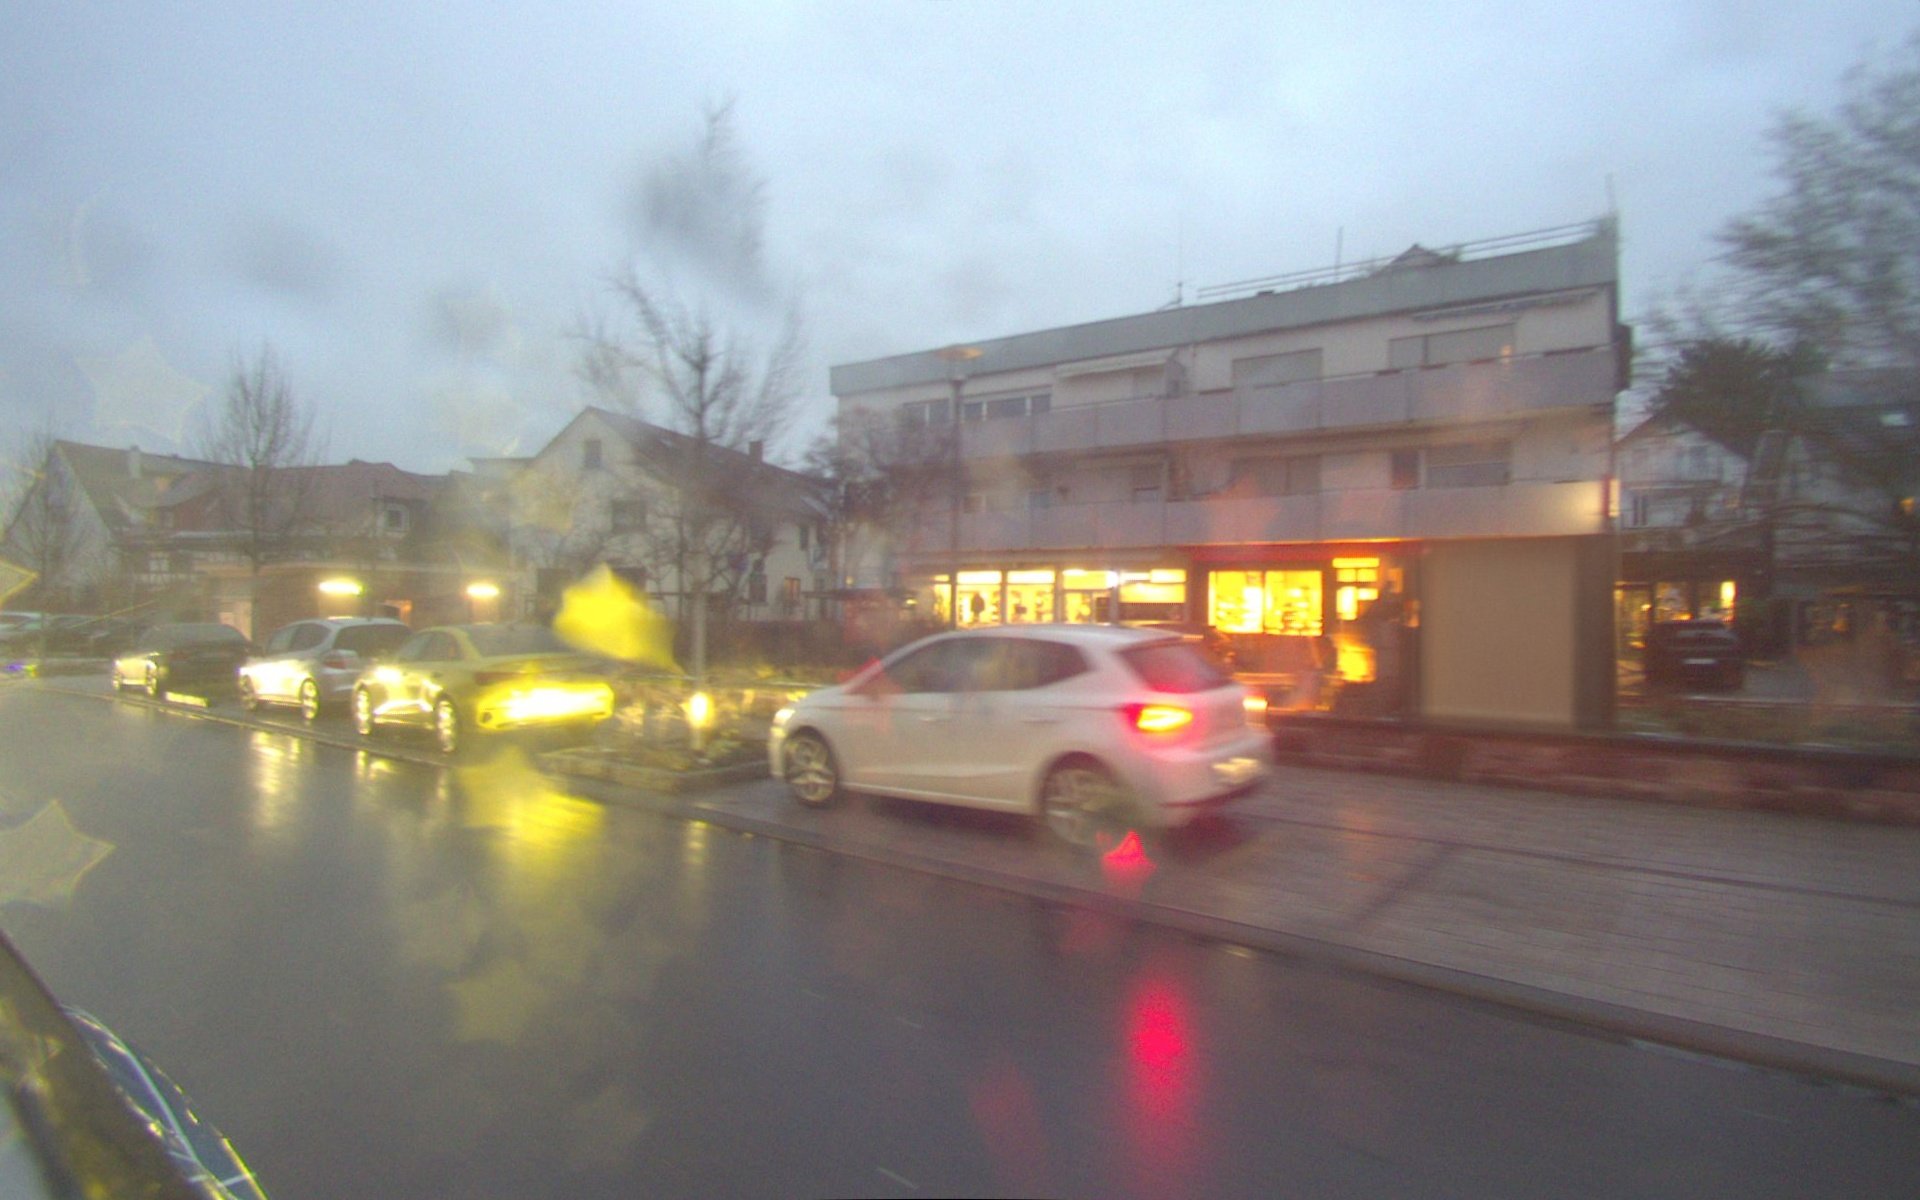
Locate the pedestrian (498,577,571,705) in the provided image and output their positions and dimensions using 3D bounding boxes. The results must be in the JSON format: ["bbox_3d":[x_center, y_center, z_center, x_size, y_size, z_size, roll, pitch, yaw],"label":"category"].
[{"bbox_3d":[-6.974,0.656,16.585,0.889,2.029,0.792,0,-2,-40],"label":"pedestrian"}]

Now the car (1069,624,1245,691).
[{"bbox_3d":[5.022,1.425,25.914,3.988,1.576,1.978,-1,-2,33],"label":"car"}]

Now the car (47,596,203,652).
[{"bbox_3d":[-27.962,0.782,34.053,3.934,1.776,1.437,0,0,-36],"label":"car"}]

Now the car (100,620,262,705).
[{"bbox_3d":[-16.167,1.211,20.937,4.136,1.546,1.817,-1,0,40],"label":"car"}]

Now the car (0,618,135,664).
[{"bbox_3d":[-33.931,1.517,38.559,3.786,1.557,2.002,-1,0,-42],"label":"car"}]

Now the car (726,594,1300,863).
[{"bbox_3d":[0.213,0.740,7.743,4.180,1.500,1.766,-1,0,41],"label":"car"}]

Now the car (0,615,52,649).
[{"bbox_3d":[-39.331,1.314,40.808,3.941,1.309,2.001,-1,0,-45],"label":"car"}]

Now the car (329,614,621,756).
[{"bbox_3d":[-6.194,0.946,12.690,4.374,1.442,1.677,-2,0,41],"label":"car"}]

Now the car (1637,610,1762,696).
[{"bbox_3d":[17.463,1.212,24.091,1.992,1.858,3.958,-1,-2,30],"label":"car"}]

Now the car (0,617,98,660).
[{"bbox_3d":[-36.415,1.500,39.682,3.937,1.559,2.003,-1,0,-40],"label":"car"}]

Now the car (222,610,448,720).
[{"bbox_3d":[-10.142,0.963,16.363,3.664,1.546,1.858,-1,0,36],"label":"car"}]
